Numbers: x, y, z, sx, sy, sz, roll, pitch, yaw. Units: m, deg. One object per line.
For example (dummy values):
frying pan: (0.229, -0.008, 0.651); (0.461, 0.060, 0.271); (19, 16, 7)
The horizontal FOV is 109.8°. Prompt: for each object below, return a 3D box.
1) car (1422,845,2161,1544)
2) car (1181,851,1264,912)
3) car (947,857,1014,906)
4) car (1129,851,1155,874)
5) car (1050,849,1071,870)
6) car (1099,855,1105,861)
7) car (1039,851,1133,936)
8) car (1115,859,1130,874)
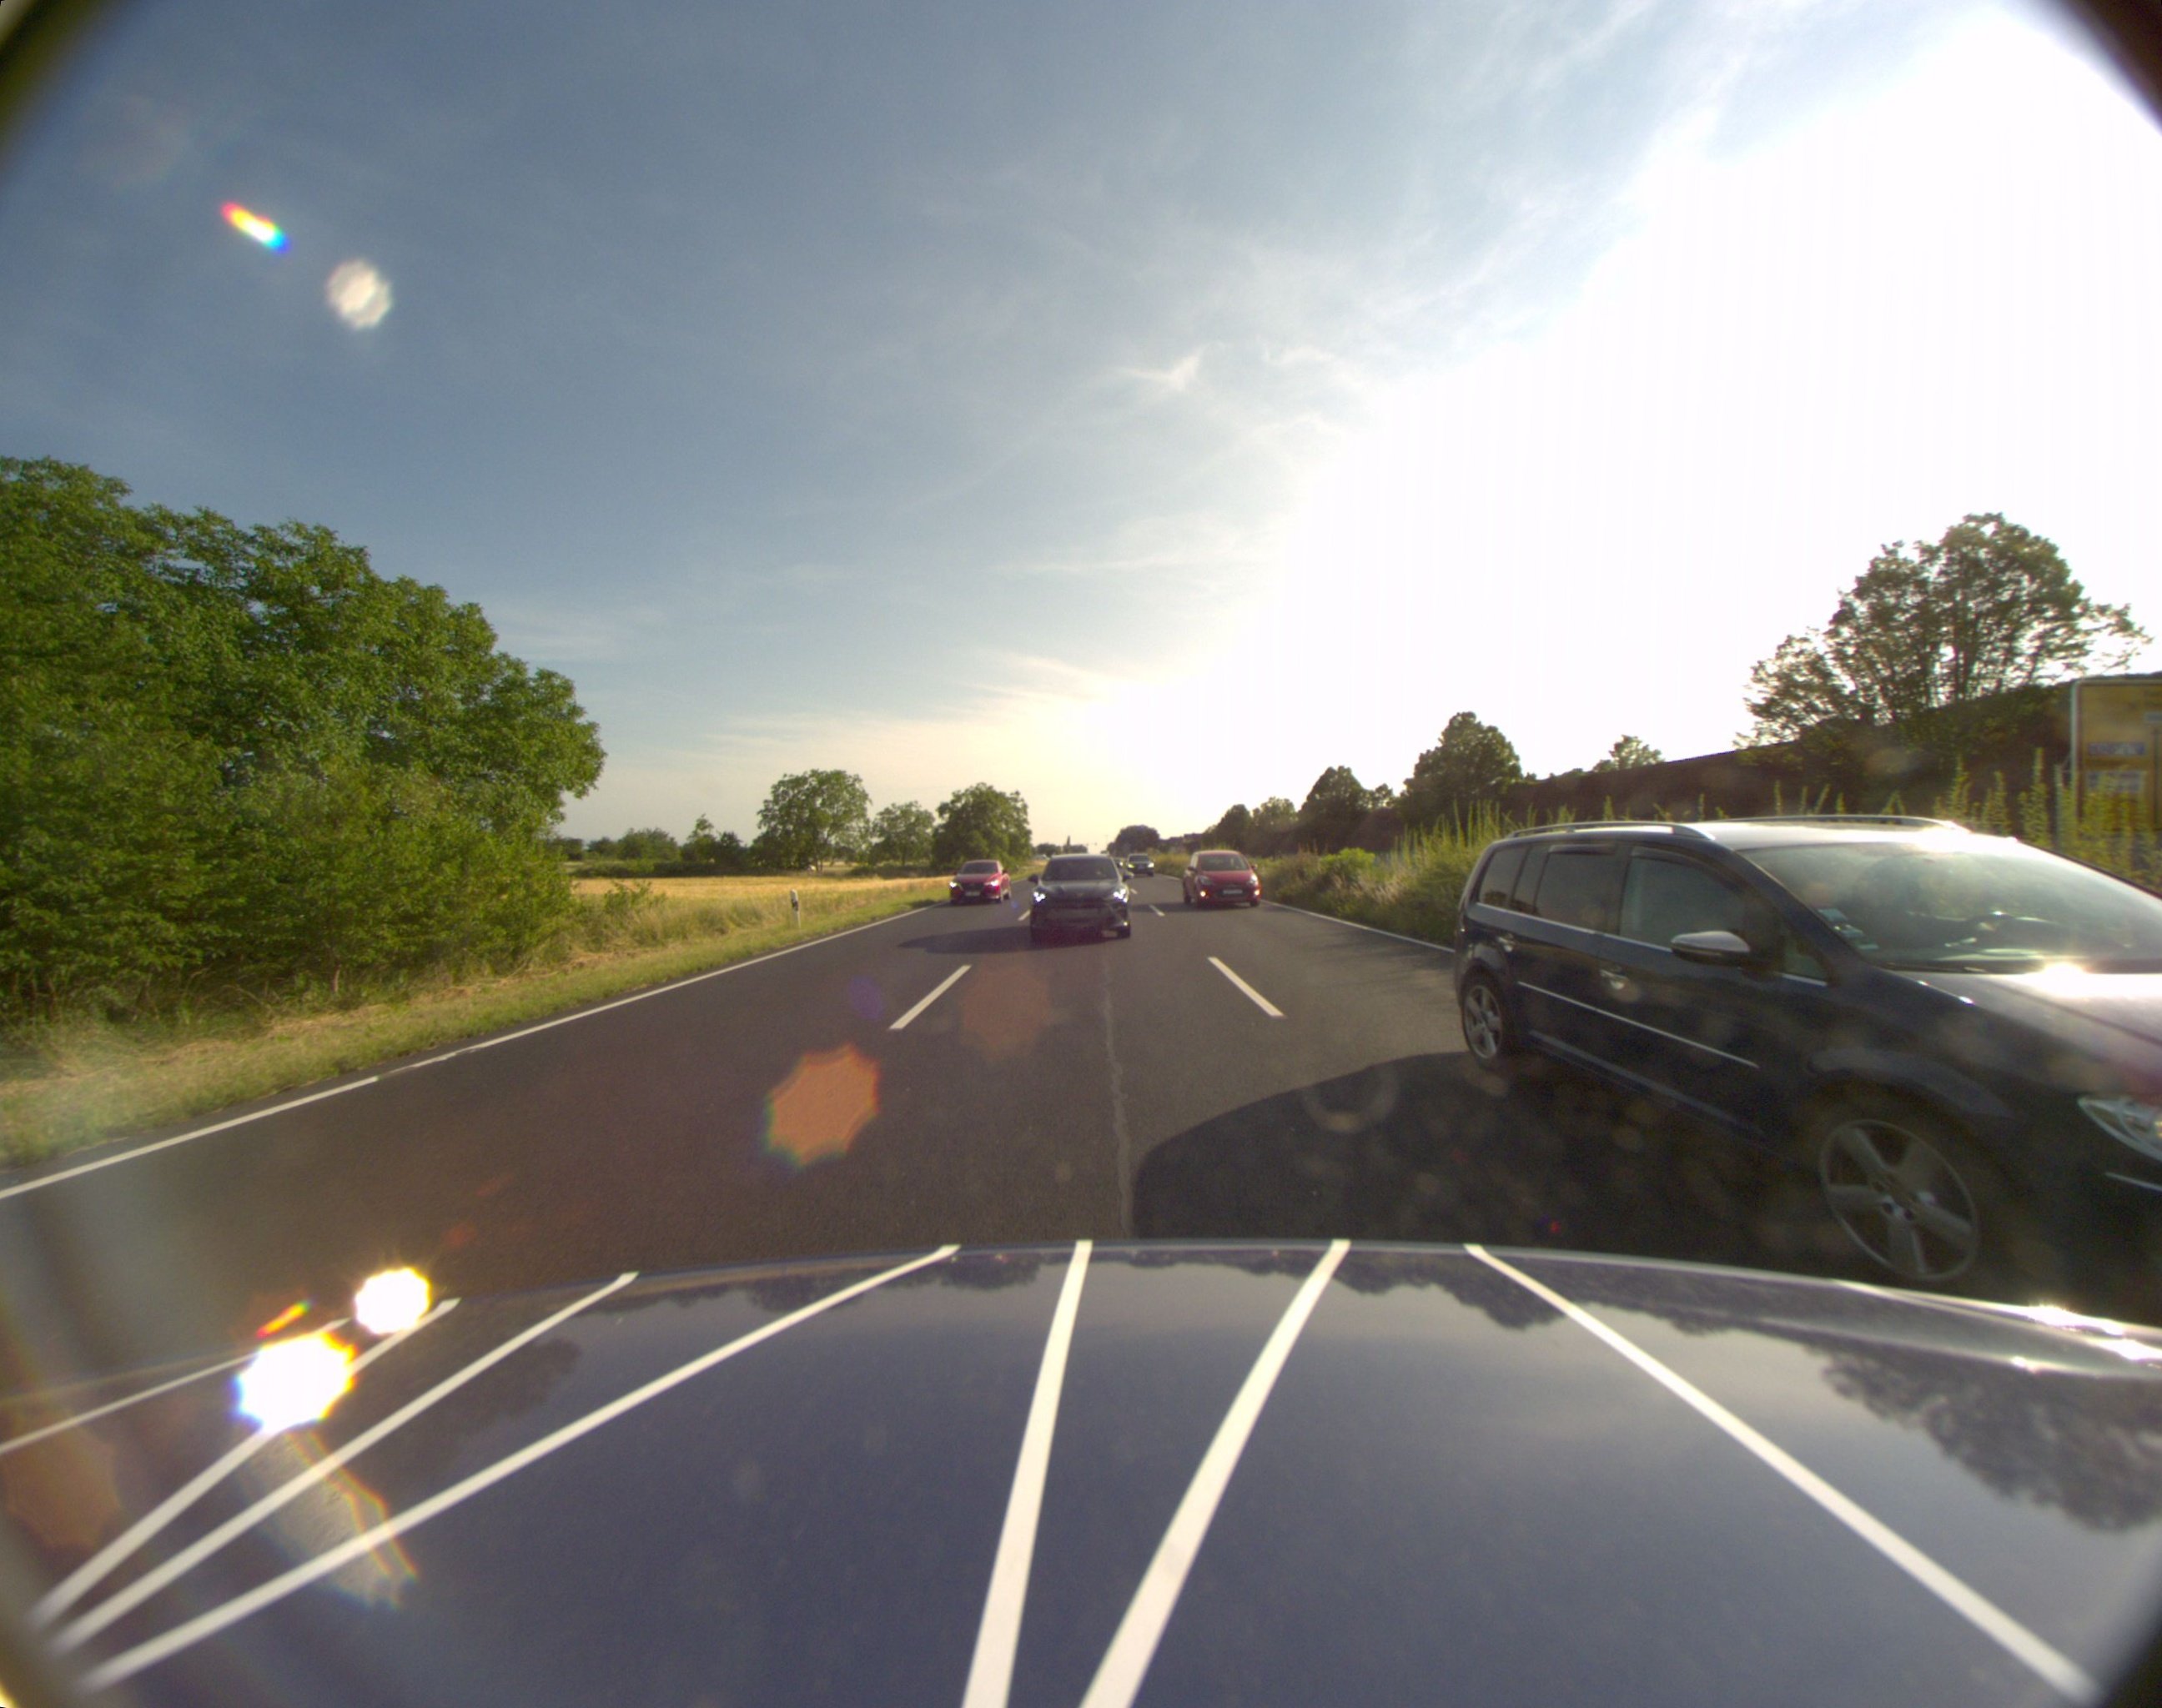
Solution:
car: (3.484, 0.786, 3.559); (1.777, 1.612, 4.681); (-1, 1, 2)
car: (4.068, 0.741, 22.416); (1.748, 1.537, 4.000); (-2, 1, 1)
car: (-3.537, 0.928, 27.511); (1.708, 1.497, 4.500); (-2, 1, 1)
car: (4.508, 0.598, 56.589); (1.719, 1.521, 4.000); (-2, 1, 1)
car: (-2.056, 0.492, 77.283); (1.999, 2.002, 3.999); (-2, 1, -2)
car: (6.566, 1.250, 237.145); (1.998, 2.002, 4.000); (-2, 1, 1)
car: (0.155, 0.772, 17.196); (1.791, 1.594, 4.339); (-2, 1, 1)
car: (5.866, 1.788, 108.397); (1.918, 1.871, 4.000); (-2, 1, 1)
